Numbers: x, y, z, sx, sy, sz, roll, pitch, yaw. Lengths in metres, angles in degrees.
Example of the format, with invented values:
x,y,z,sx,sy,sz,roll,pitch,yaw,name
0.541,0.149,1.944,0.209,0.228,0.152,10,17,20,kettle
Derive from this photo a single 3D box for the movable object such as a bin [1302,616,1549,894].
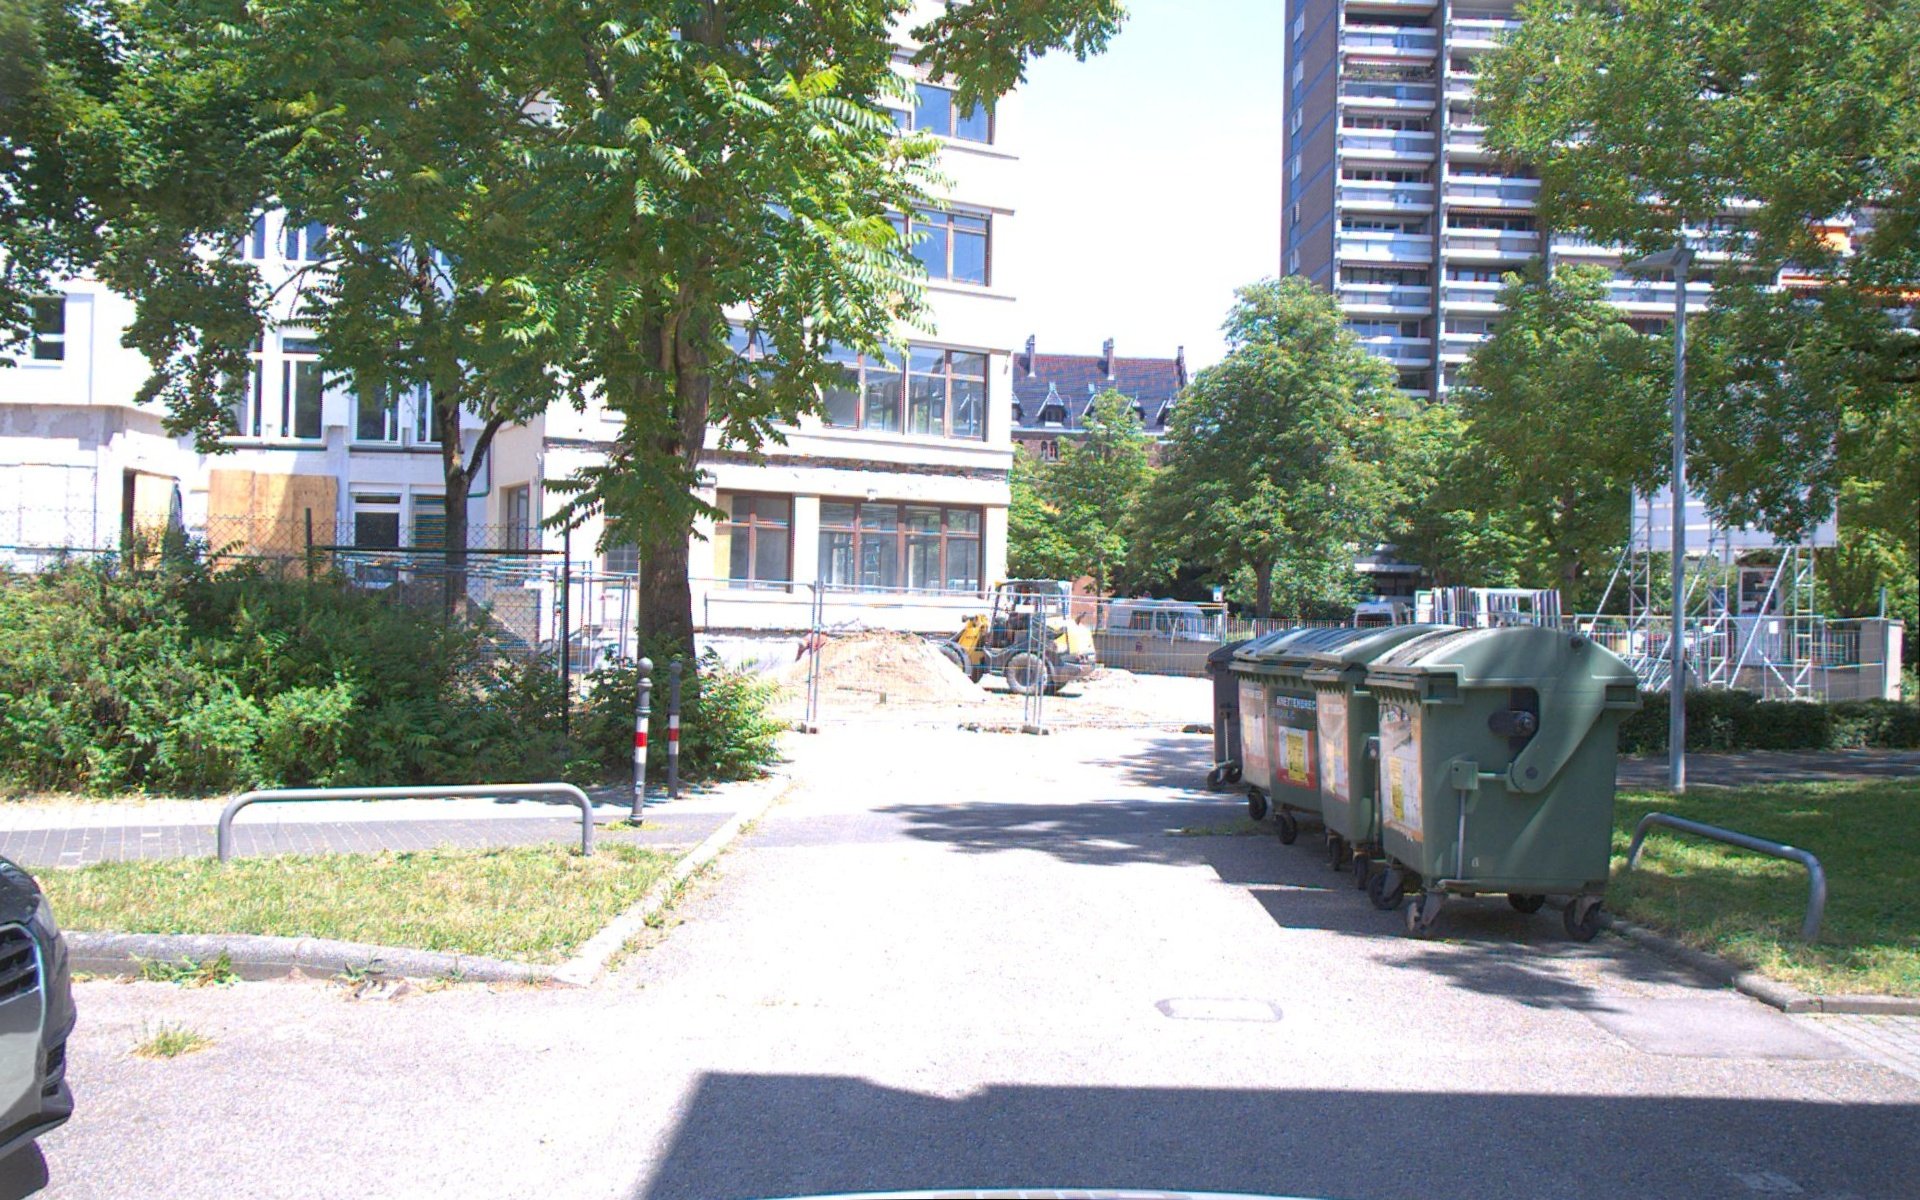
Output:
x,y,z,sx,sy,sz,roll,pitch,yaw,name
2.675,0.854,9.675,1.053,1.483,1.377,1,-1,0,movable object such as a bin

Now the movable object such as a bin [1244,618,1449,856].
x,y,z,sx,sy,sz,roll,pitch,yaw,name
2.561,0.876,11.146,1.053,1.483,1.377,1,-1,0,movable object such as a bin

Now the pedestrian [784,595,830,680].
x,y,z,sx,sy,sz,roll,pitch,yaw,name
-3.457,0.849,37.442,0.895,1.879,0.986,1,-1,0,pedestrian

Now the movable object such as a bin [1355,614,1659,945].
x,y,z,sx,sy,sz,roll,pitch,yaw,name
2.662,0.829,8.232,1.053,1.483,1.377,1,-1,0,movable object such as a bin

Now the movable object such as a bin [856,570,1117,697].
x,y,z,sx,sy,sz,roll,pitch,yaw,name
0.589,0.710,37.218,5.299,2.507,2.365,3,0,27,movable object such as a bin

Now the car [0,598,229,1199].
x,y,z,sx,sy,sz,roll,pitch,yaw,name
-4.223,0.688,3.596,4.337,1.404,2.024,1,1,2,car

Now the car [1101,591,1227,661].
x,y,z,sx,sy,sz,roll,pitch,yaw,name
7.490,0.948,61.378,1.972,2.459,5.192,2,-1,-29,car

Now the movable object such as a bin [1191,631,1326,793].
x,y,z,sx,sy,sz,roll,pitch,yaw,name
2.875,1.056,16.075,1.053,1.483,1.377,1,-1,0,movable object such as a bin

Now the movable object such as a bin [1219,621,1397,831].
x,y,z,sx,sy,sz,roll,pitch,yaw,name
2.610,0.916,12.568,1.053,1.483,1.377,1,-1,0,movable object such as a bin

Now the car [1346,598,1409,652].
x,y,z,sx,sy,sz,roll,pitch,yaw,name
18.565,1.116,73.452,2.139,2.298,4.868,1,-1,21,car
